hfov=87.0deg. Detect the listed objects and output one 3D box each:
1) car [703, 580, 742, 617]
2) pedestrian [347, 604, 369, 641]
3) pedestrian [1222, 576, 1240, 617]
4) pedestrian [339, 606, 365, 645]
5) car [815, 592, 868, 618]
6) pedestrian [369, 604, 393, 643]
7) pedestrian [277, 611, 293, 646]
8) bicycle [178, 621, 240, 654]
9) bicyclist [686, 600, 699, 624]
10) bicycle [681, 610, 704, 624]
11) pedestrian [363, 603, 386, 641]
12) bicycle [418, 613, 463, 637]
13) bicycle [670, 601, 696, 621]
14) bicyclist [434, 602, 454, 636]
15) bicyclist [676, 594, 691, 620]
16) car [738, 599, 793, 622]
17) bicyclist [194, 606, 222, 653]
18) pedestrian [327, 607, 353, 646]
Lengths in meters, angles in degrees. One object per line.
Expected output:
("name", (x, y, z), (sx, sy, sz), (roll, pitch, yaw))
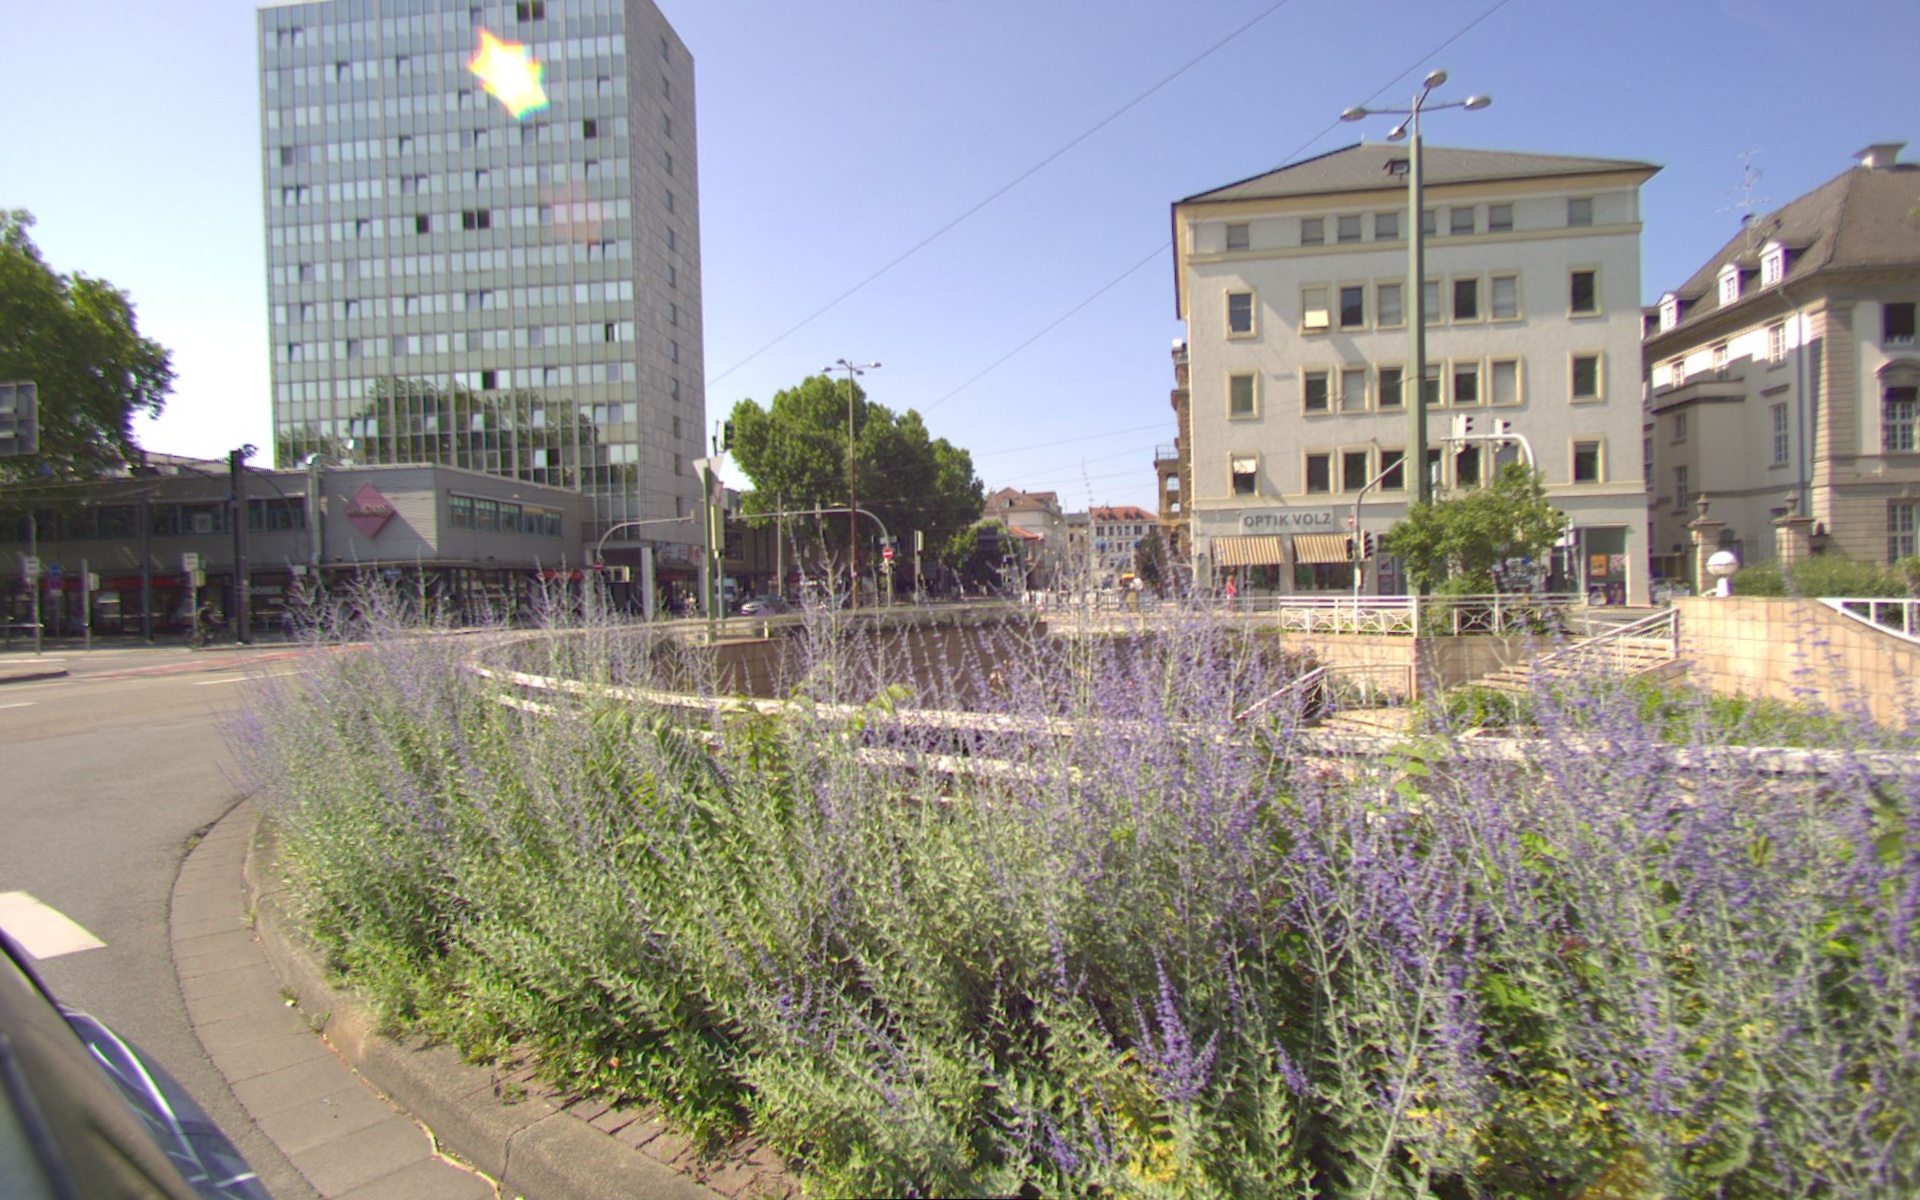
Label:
("car", (-19.441, -0.135, 83.012), (1.725, 2.938, 4.631), (-2, 0, 4))
("pedestrian", (-30.491, 1.125, 51.269), (0.671, 1.820, 0.812), (-1, 0, 44))
("pedestrian", (11.838, -0.150, 44.255), (0.634, 1.772, 0.593), (-1, 0, 7))
("pedestrian", (-29.062, 1.210, 48.384), (0.663, 1.850, 0.822), (-1, 0, 6))
("car", (-7.712, 0.292, 66.145), (1.868, 1.545, 4.053), (-2, 1, 19))
("pedestrian", (-28.081, 1.144, 49.109), (0.663, 1.850, 0.822), (-1, 0, 5))
("pedestrian", (-32.585, 1.372, 48.841), (0.589, 1.650, 0.567), (-1, 0, -28))
("bicycle", (-27.962, 1.387, 37.696), (0.520, 1.175, 1.796), (-1, 0, 33))
("bicyclist", (-17.819, 0.802, 67.418), (0.578, 1.538, 0.680), (0, 1, 17))
("bicycle", (-17.805, 1.127, 67.420), (0.588, 0.889, 1.801), (0, 1, 17))
("pedestrian", (-29.278, 1.083, 50.622), (0.670, 1.850, 0.813), (-1, 0, 37))
("bicycle", (-26.667, 1.275, 51.976), (0.576, 1.110, 1.945), (-2, 1, 36))
("bicycle", (-18.933, 0.729, 69.221), (0.712, 1.309, 1.925), (0, 1, 23))
("bicyclist", (-26.578, 0.966, 52.102), (0.583, 1.700, 0.676), (-2, 0, 37))
("bicyclist", (-18.927, 0.495, 69.267), (0.693, 1.781, 0.679), (0, 1, 24))
("car", (-13.334, 0.699, 69.479), (1.868, 1.471, 4.137), (-2, 1, 19))
("bicyclist", (-27.984, 1.104, 37.671), (0.520, 1.719, 0.676), (-1, 0, 34))
("pedestrian", (-29.753, 1.264, 48.570), (0.726, 1.850, 0.822), (-1, 0, 6))
